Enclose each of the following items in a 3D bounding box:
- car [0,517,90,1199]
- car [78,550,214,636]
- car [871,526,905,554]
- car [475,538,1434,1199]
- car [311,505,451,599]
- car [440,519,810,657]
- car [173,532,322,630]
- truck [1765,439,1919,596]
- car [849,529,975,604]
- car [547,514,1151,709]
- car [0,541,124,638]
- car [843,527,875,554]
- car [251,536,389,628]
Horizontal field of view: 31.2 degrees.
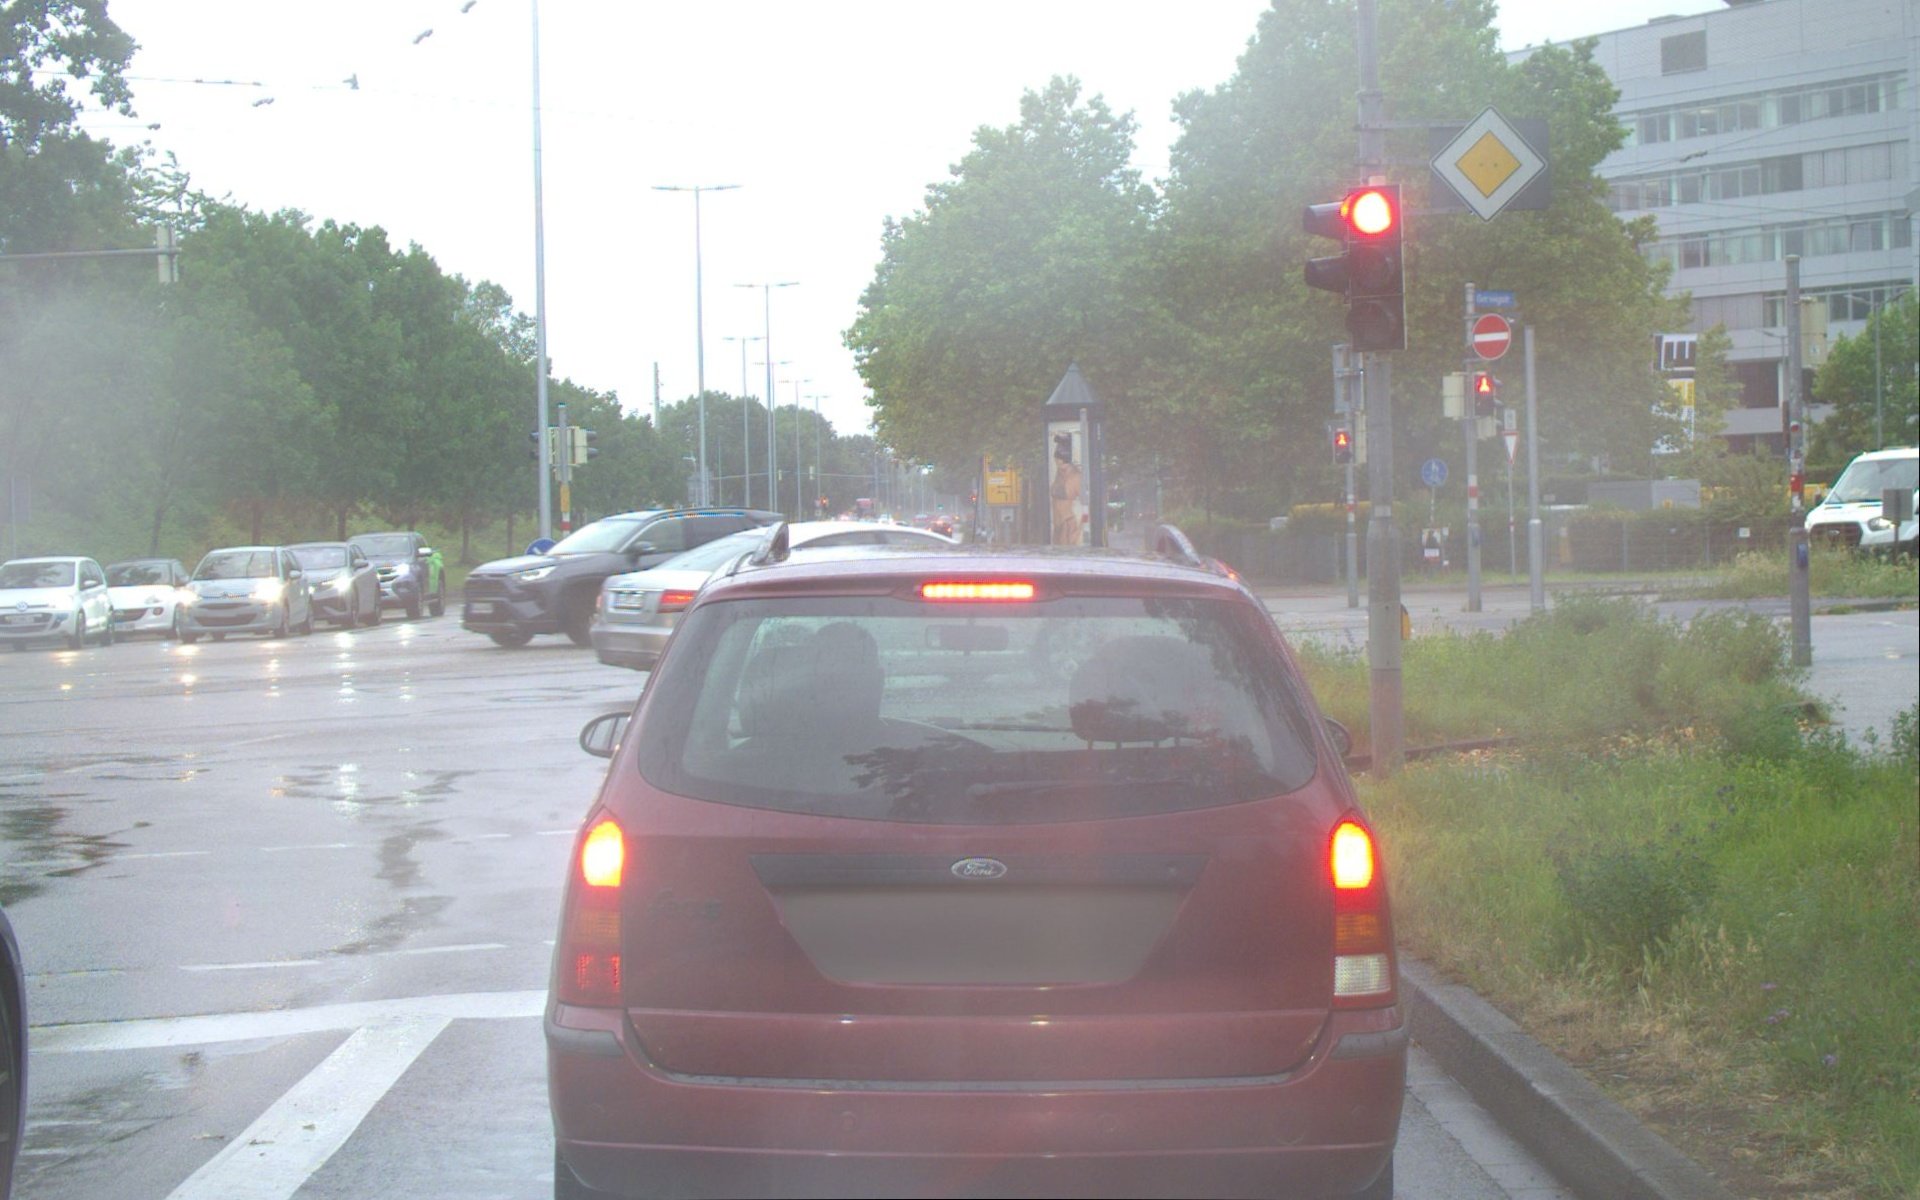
[{"bbox_3d":[-2.678,0.655,4.889,1.769,1.568,4.822,1,1,-2],"label":"car"},{"bbox_3d":[-14.507,-0.145,61.442,1.590,1.399,3.823,-2,1,-2],"label":"car"},{"bbox_3d":[-3.989,-3.356,191.042,1.698,1.522,3.846,-1,1,1],"label":"car"},{"bbox_3d":[-0.061,0.611,7.807,1.642,1.460,3.733,1,1,-2],"label":"car"},{"bbox_3d":[-11.987,-1.017,71.465,2.065,1.813,5.542,-2,1,-2],"label":"car"},{"bbox_3d":[-4.118,-0.173,42.542,4.234,1.554,1.746,-2,1,-37],"label":"car"},{"bbox_3d":[-11.599,-0.339,56.157,1.638,1.468,3.965,-2,1,-1],"label":"car"},{"bbox_3d":[16.027,-1.343,54.532,6.847,2.357,2.482,-2,1,-37],"label":"truck"},{"bbox_3d":[-1.221,-0.835,84.698,1.993,1.784,4.001,1,1,-18],"label":"car"},{"bbox_3d":[-0.914,0.060,29.485,4.814,1.485,1.927,-2,1,-30],"label":"car"},{"bbox_3d":[-14.629,-0.193,55.113,1.638,1.447,3.788,-2,1,-3],"label":"car"},{"bbox_3d":[-5.901,-3.501,201.376,1.698,1.522,3.846,-1,1,1],"label":"car"},{"bbox_3d":[-11.733,-0.347,63.302,1.762,1.580,4.814,-2,1,-2],"label":"car"}]
